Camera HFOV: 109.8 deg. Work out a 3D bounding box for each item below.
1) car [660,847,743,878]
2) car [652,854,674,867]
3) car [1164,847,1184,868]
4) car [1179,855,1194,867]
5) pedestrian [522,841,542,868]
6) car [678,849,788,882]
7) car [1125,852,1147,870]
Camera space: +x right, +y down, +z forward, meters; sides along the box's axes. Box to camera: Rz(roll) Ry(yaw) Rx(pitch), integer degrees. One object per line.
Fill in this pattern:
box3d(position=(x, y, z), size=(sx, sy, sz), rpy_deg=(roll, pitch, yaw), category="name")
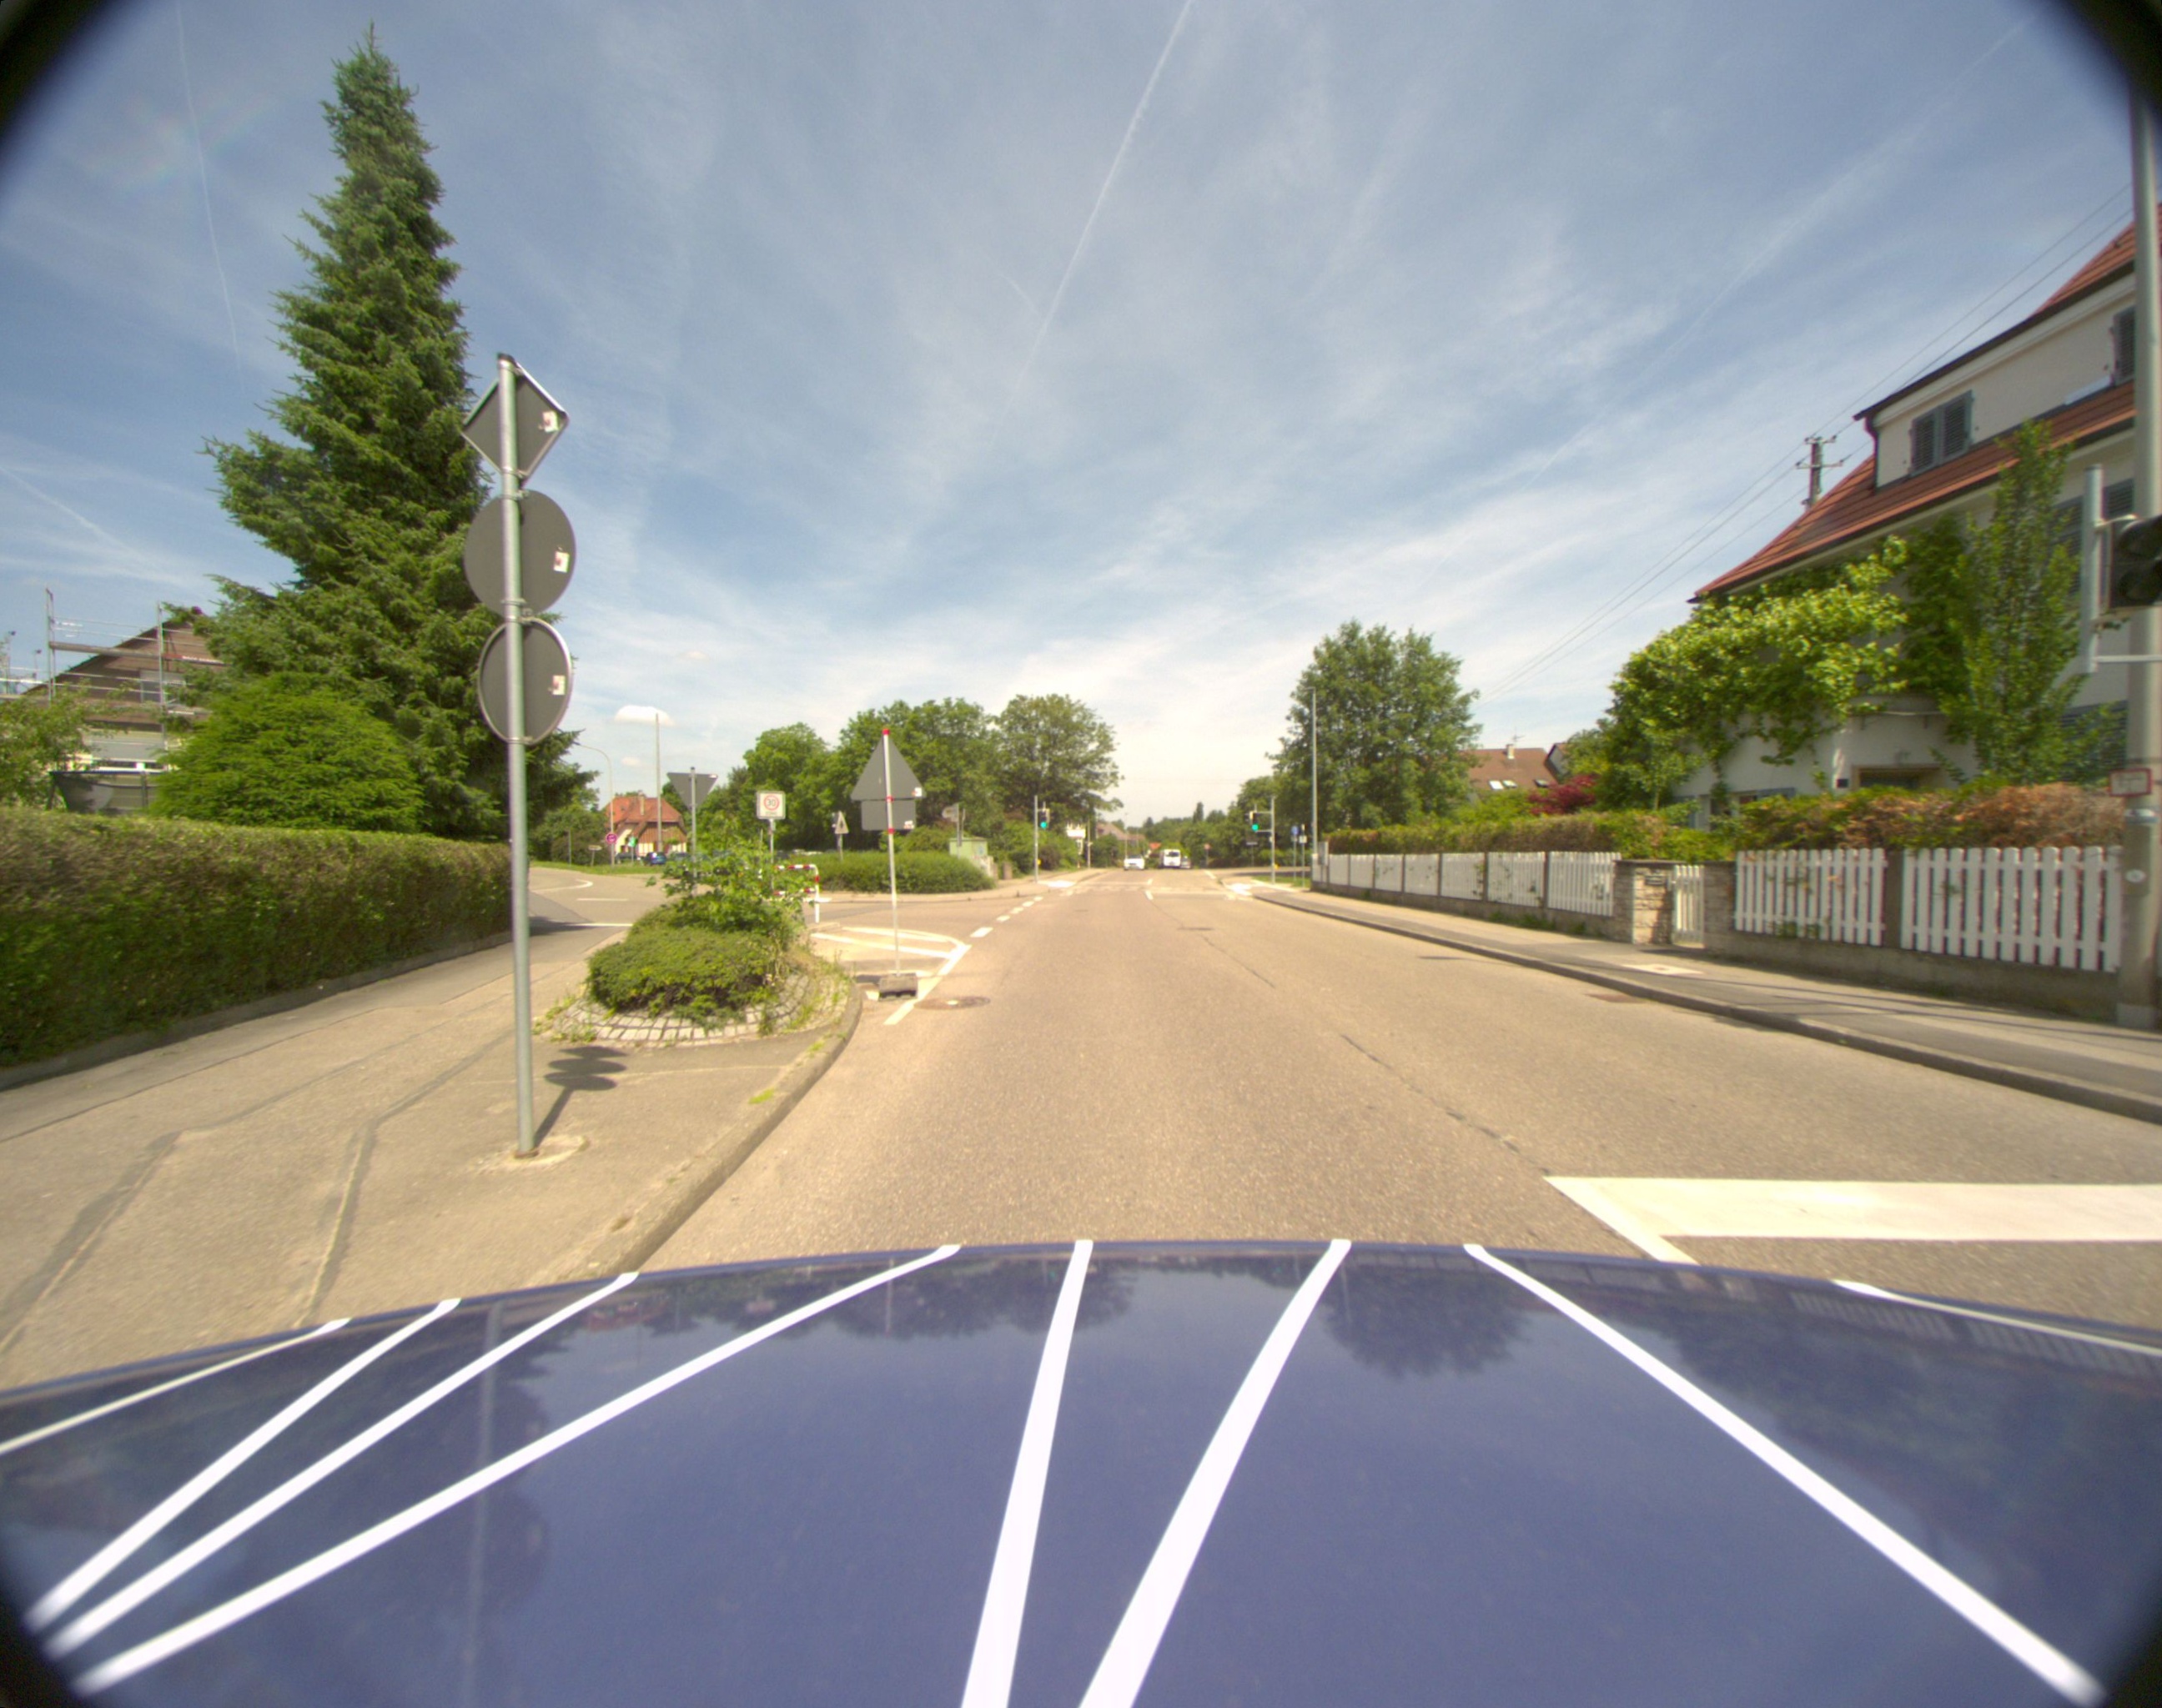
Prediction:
box3d(position=(-19.010, 0.404, 38.128), size=(3.441, 1.476, 1.413), rpy_deg=(0, 1, -43), category="car")
box3d(position=(-45.942, 0.704, 83.471), size=(1.843, 1.407, 3.989), rpy_deg=(0, 0, -33), category="car")
box3d(position=(9.591, 0.346, 78.365), size=(1.883, 1.954, 4.903), rpy_deg=(0, 1, 5), category="car")
box3d(position=(12.596, 0.784, 90.772), size=(1.783, 1.386, 4.411), rpy_deg=(0, 0, 7), category="car")
box3d(position=(-41.948, 0.032, 58.053), size=(1.106, 2.002, 1.007), rpy_deg=(-1, 1, -30), category="pedestrian")
box3d(position=(-15.577, 0.482, 34.137), size=(4.293, 1.390, 1.396), rpy_deg=(-1, 1, -37), category="car")
box3d(position=(4.963, 0.602, 68.373), size=(1.826, 1.543, 4.002), rpy_deg=(0, 0, 5), category="car")
